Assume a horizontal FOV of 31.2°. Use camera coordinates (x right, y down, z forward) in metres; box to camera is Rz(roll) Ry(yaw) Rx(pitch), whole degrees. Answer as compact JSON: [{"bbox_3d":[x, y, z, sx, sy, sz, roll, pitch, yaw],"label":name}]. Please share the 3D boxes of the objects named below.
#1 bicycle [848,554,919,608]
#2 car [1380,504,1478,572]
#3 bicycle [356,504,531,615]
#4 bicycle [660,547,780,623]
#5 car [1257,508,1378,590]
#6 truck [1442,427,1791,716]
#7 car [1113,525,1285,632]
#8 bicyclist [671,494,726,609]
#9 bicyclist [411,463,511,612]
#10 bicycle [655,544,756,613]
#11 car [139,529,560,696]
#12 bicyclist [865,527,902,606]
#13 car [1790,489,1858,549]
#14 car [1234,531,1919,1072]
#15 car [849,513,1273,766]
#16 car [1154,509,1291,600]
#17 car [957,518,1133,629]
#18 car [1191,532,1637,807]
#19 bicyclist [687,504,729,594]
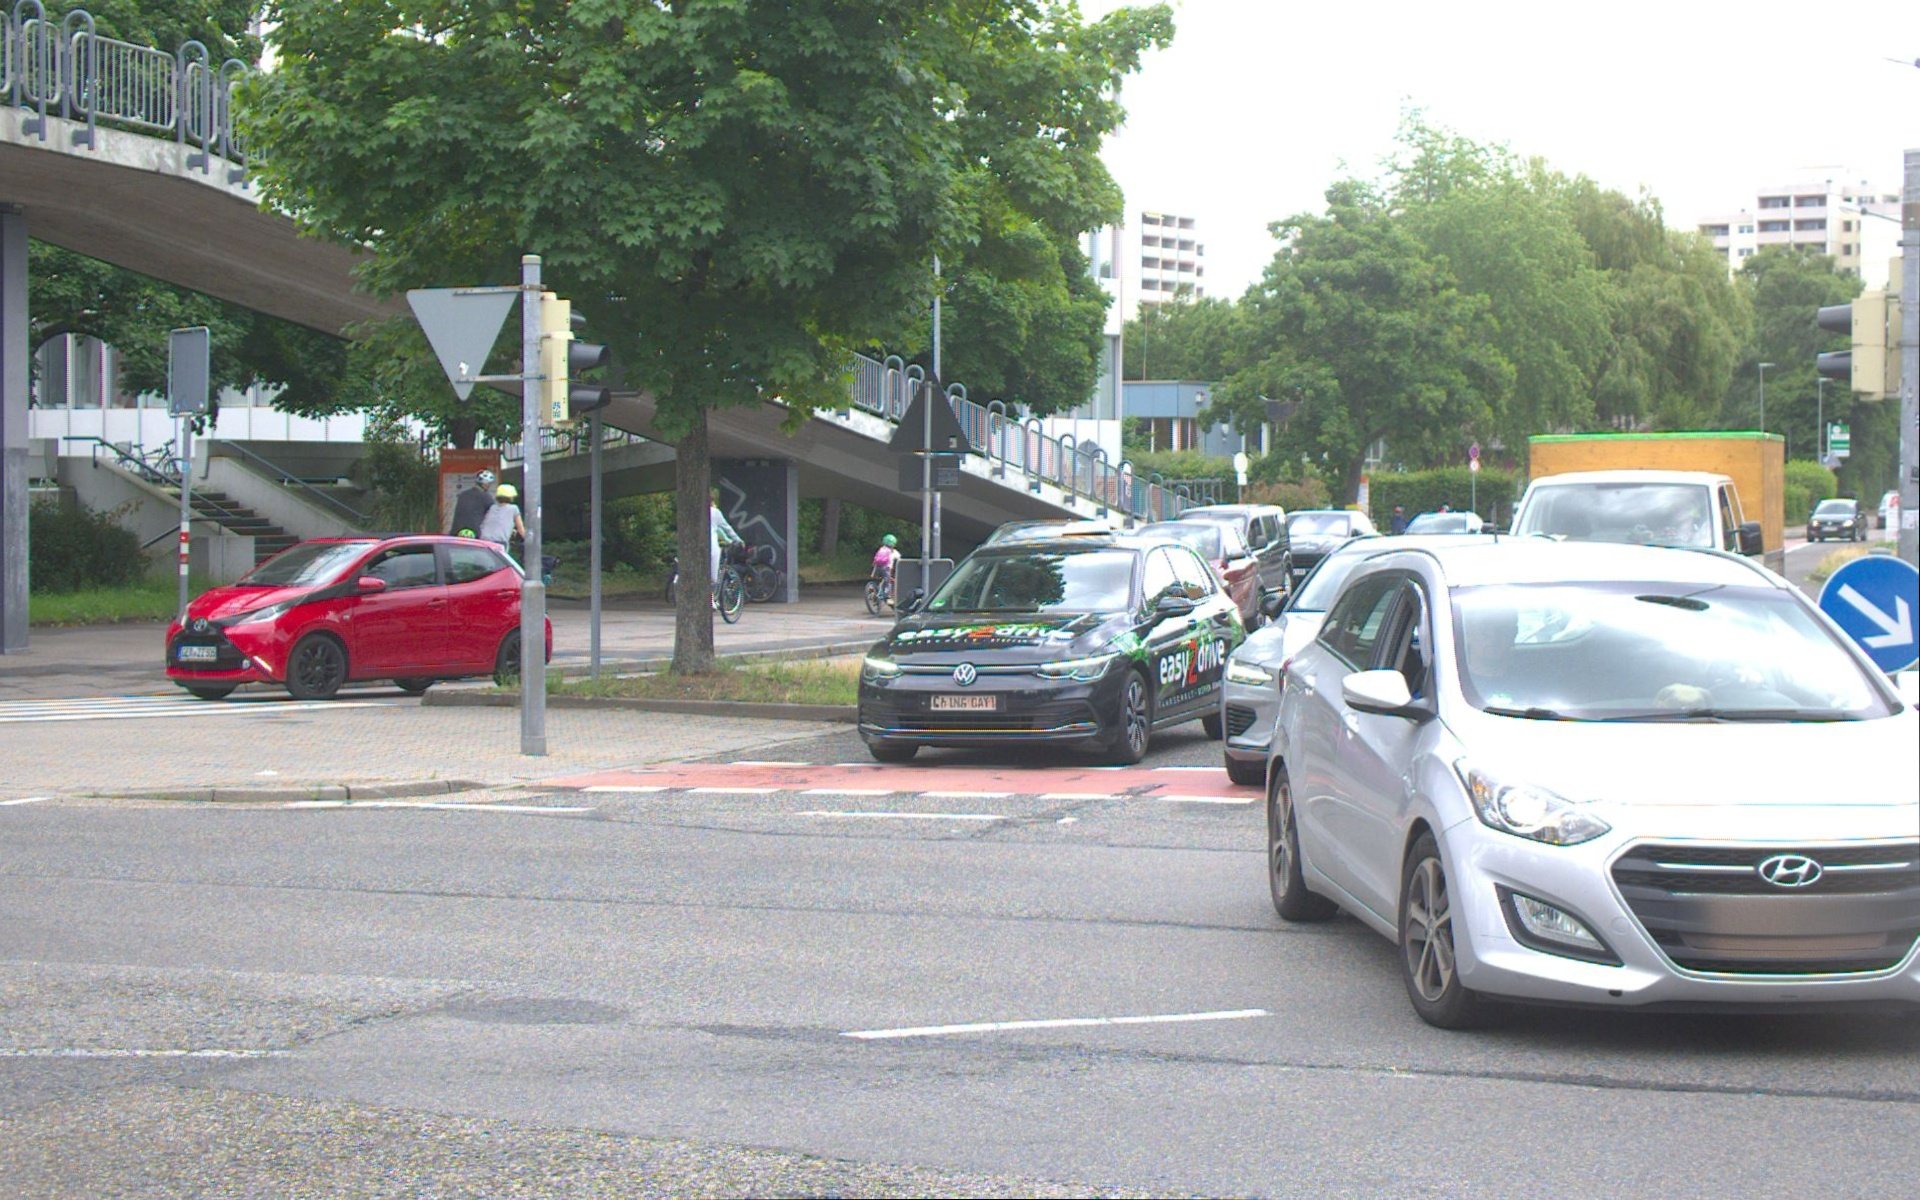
[{"bbox_3d":[-1.171,-0.297,53.118,0.510,0.775,1.839,1,2,18],"label":"bicycle"},{"bbox_3d":[11.133,-1.492,81.389,1.673,1.546,3.997,1,2,17],"label":"car"},{"bbox_3d":[-6.581,-0.546,44.057,0.857,1.310,3.227,1,3,18],"label":"bicycle"},{"bbox_3d":[-3.203,-0.211,46.025,0.763,0.946,1.951,1,2,24],"label":"bicycle"},{"bbox_3d":[7.188,-1.047,68.931,1.673,1.546,3.997,1,2,17],"label":"car"},{"bbox_3d":[5.696,-0.331,29.186,2.157,2.191,5.835,1,2,18],"label":"truck"},{"bbox_3d":[3.233,-0.318,46.146,1.560,1.341,2.969,1,2,20],"label":"car"},{"bbox_3d":[-3.753,-0.702,49.338,0.566,1.638,0.530,1,1,33],"label":"bicyclist"},{"bbox_3d":[-6.452,-0.819,44.495,0.857,1.886,1.127,1,3,18],"label":"bicyclist"},{"bbox_3d":[-3.653,-0.317,49.518,0.527,0.946,1.706,1,2,33],"label":"bicycle"},{"bbox_3d":[-5.374,0.066,30.556,1.516,1.385,3.524,2,2,41],"label":"car"},{"bbox_3d":[-1.180,-0.521,53.136,0.431,1.213,0.567,1,2,16],"label":"bicyclist"},{"bbox_3d":[29.525,-2.772,117.432,1.995,2.006,3.997,1,2,17],"label":"car"},{"bbox_3d":[2.184,0.526,11.837,1.789,1.514,4.326,0,1,-5],"label":"car"},{"bbox_3d":[0.790,0.177,22.996,1.771,1.472,4.387,1,2,16],"label":"car"},{"bbox_3d":[4.771,-0.847,62.107,1.673,1.546,3.759,1,2,17],"label":"car"},{"bbox_3d":[1.323,-0.428,51.857,1.673,1.546,3.889,1,2,17],"label":"car"},{"bbox_3d":[2.900,0.323,21.007,1.898,1.415,4.732,1,2,17],"label":"car"},{"bbox_3d":[-3.369,-0.684,45.986,0.405,1.177,0.377,4,4,18],"label":"bicyclist"}]
